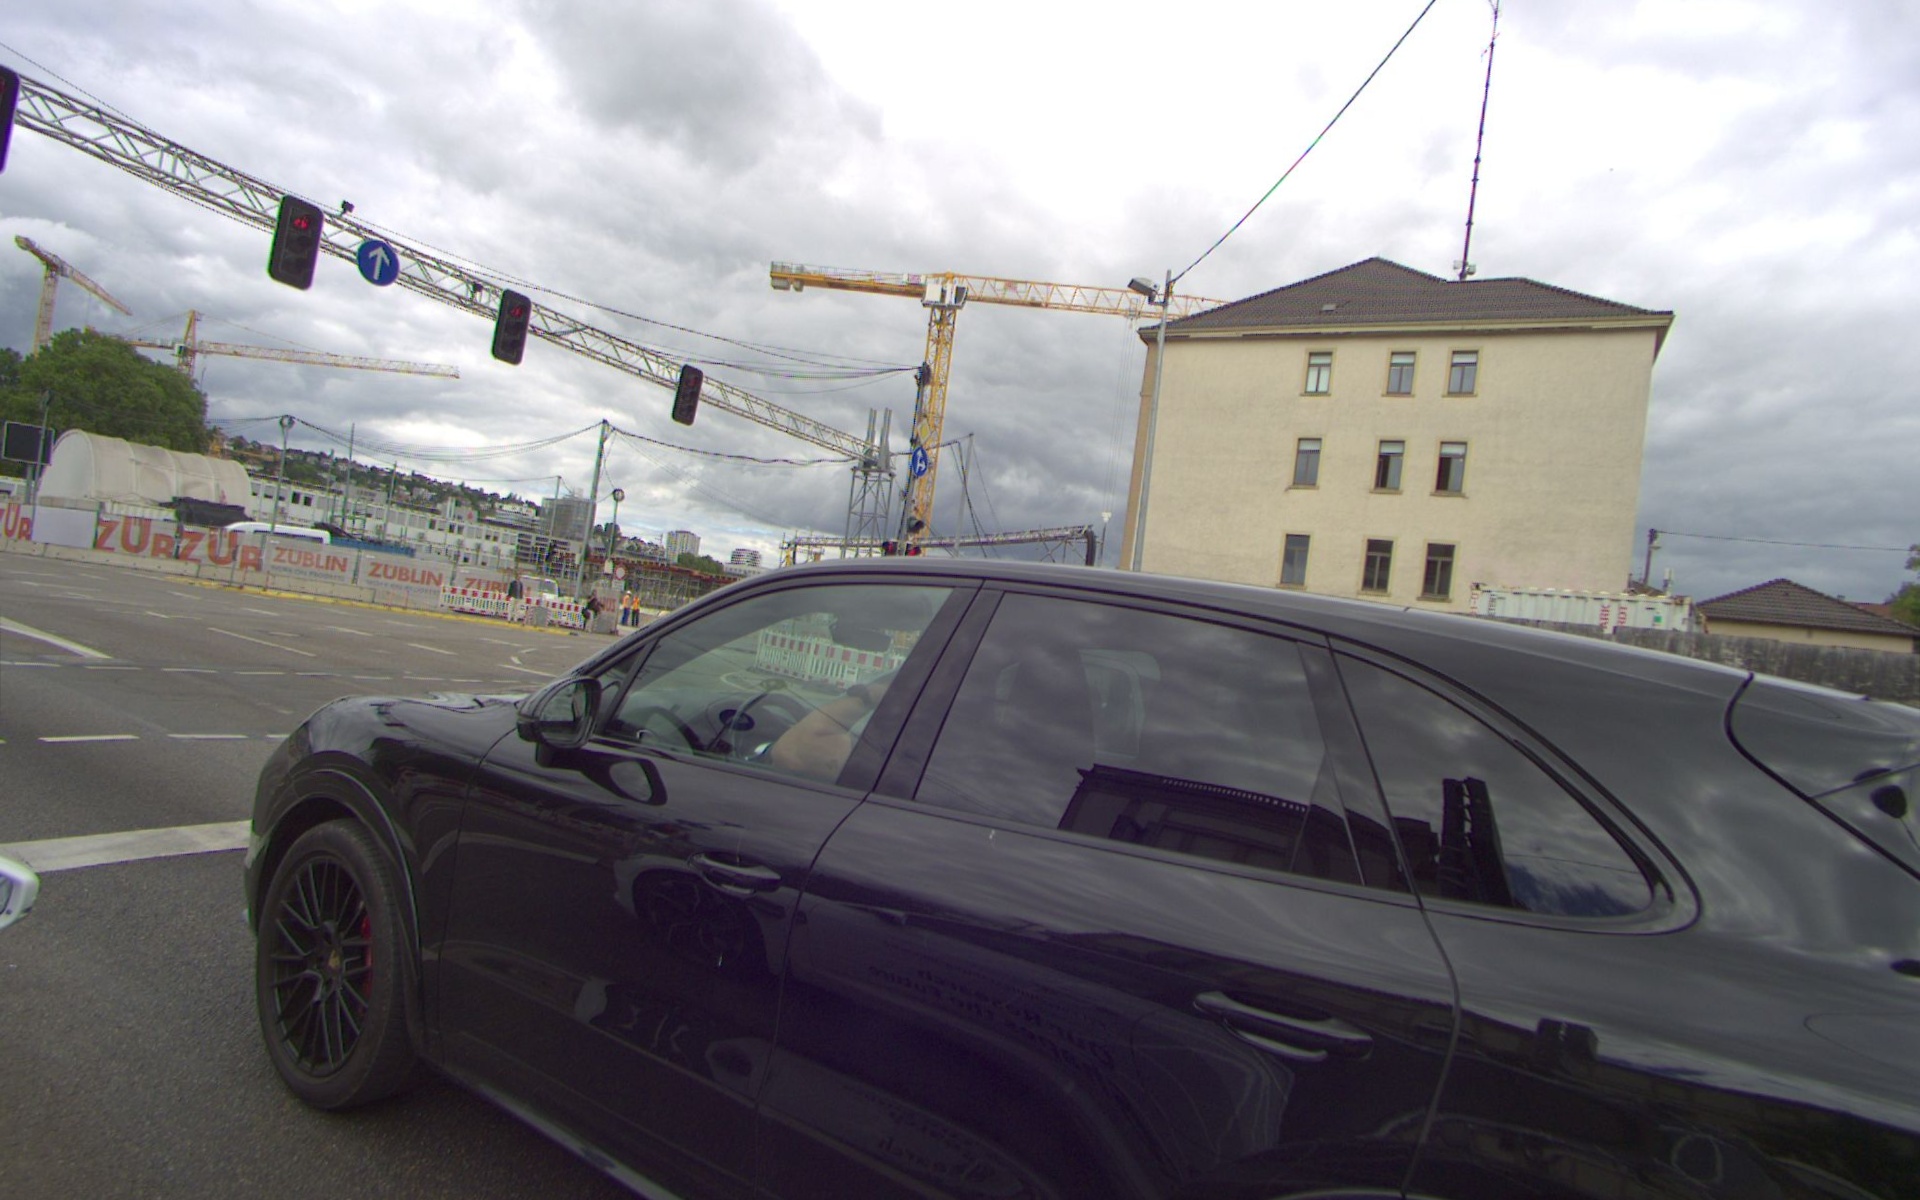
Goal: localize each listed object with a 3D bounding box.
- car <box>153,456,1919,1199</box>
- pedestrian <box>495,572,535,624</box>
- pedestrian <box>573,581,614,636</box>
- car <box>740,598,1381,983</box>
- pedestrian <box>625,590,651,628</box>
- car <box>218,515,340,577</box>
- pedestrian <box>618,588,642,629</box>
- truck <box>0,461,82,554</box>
[{"bbox_3d":[0.002,0.690,2.714,4.505,1.687,1.997,6,-2,34],"label":"car"},{"bbox_3d":[-17.389,-0.060,39.274,1.040,1.869,0.781,8,-1,-42],"label":"pedestrian"},{"bbox_3d":[-14.985,0.346,41.131,1.040,2.037,1.022,8,-1,-42],"label":"pedestrian"},{"bbox_3d":[0.583,0.999,6.551,3.587,1.527,1.825,6,-2,33],"label":"car"},{"bbox_3d":[-17.509,0.483,54.706,0.850,1.938,0.680,7,-1,26],"label":"pedestrian"},{"bbox_3d":[-29.522,-2.328,43.640,3.976,2.037,1.976,9,-2,-43],"label":"car"},{"bbox_3d":[-17.639,0.445,53.824,0.855,2.037,0.677,6,-1,44],"label":"pedestrian"},{"bbox_3d":[-58.058,-5.871,58.849,3.054,5.017,9.760,7,-2,12],"label":"truck"}]
